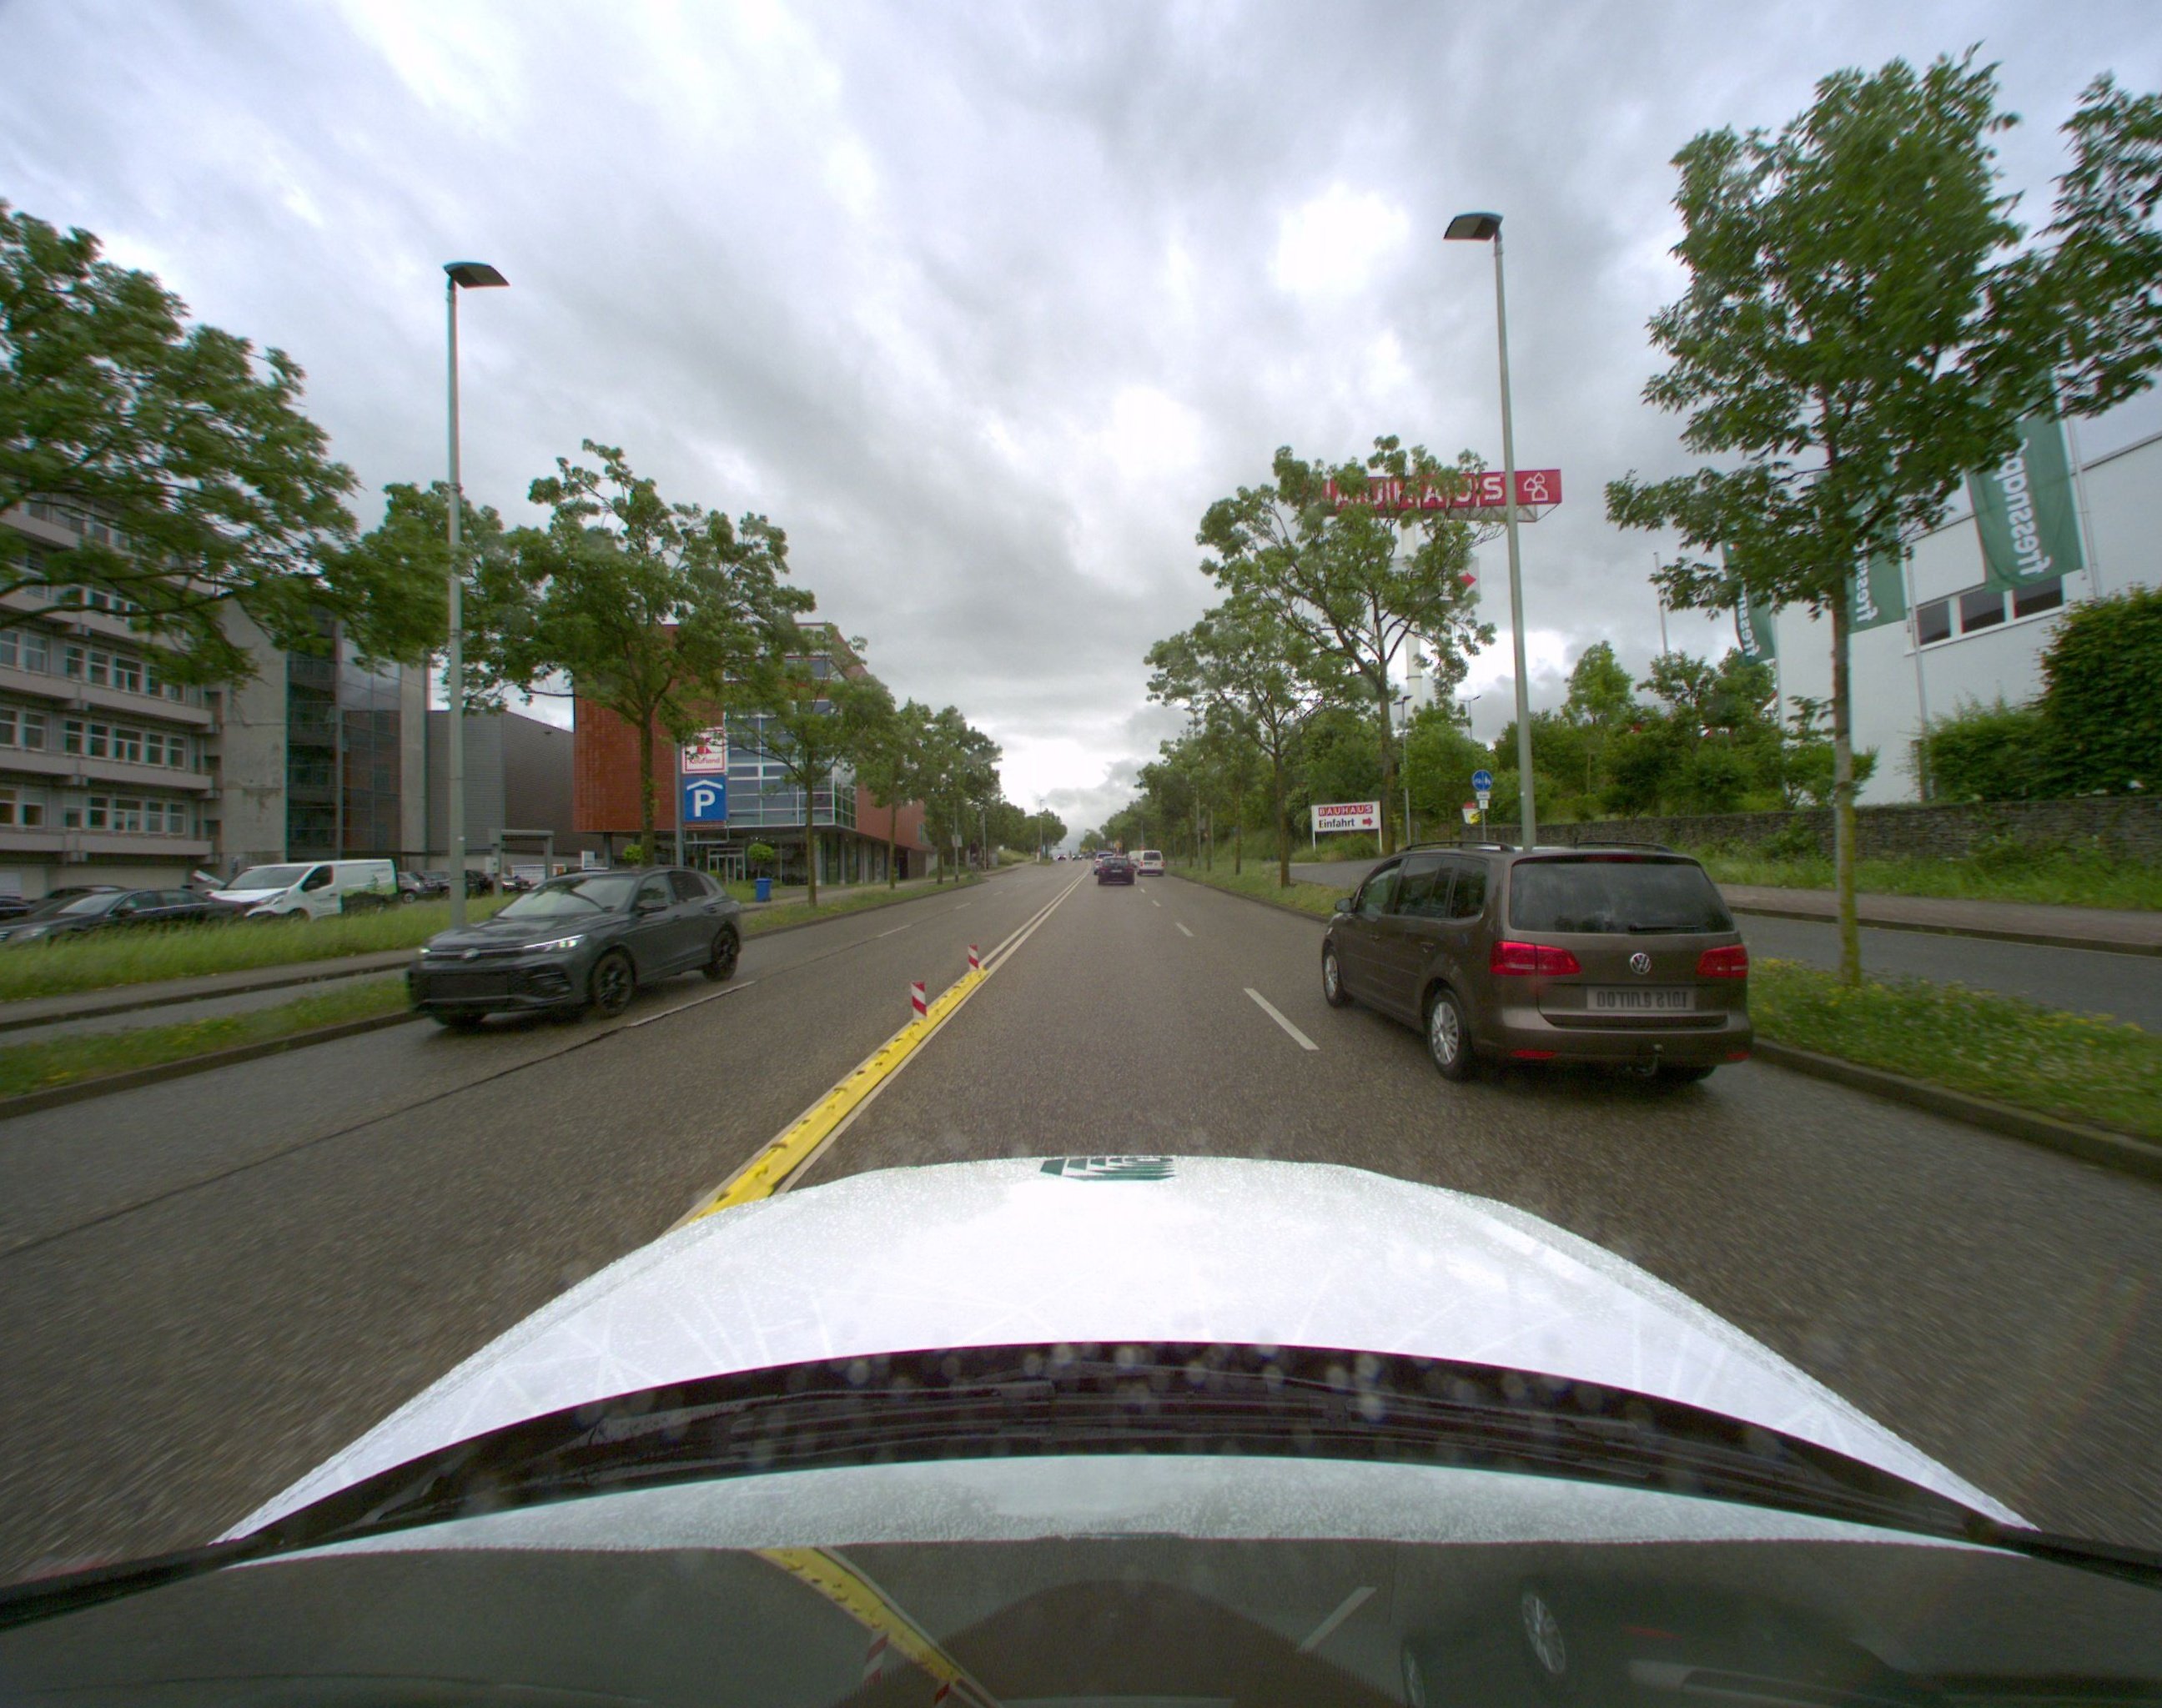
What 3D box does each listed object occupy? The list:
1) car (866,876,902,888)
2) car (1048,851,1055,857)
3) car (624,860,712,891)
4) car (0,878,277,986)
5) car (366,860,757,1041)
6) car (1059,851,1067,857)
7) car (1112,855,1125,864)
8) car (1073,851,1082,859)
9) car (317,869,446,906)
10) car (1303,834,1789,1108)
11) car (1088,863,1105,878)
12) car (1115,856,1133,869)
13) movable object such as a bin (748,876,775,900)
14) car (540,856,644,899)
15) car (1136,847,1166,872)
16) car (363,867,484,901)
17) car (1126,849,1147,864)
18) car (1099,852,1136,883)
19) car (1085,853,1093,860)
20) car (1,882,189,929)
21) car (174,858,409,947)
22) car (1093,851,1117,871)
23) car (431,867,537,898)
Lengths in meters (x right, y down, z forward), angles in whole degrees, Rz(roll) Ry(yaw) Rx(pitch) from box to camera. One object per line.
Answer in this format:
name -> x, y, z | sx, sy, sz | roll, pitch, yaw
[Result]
car -> -22.054, 3.137, 91.159 | 3.520, 1.284, 1.522 | 0, -1, 4
car -> -7.498, 0.031, 207.686 | 1.789, 1.510, 3.997 | 0, -1, -2
car -> -24.058, 1.253, 47.600 | 4.280, 1.682, 1.789 | -2, -2, -18
car -> -20.783, 1.524, 17.565 | 2.034, 1.762, 4.942 | -1, 1, -2
car -> -5.893, 0.947, 10.064 | 1.781, 1.614, 4.438 | -4, 0, 2
car -> -4.126, -0.003, 187.452 | 1.789, 1.510, 3.997 | 0, -1, -2
car -> 5.991, 0.895, 131.069 | 1.789, 1.510, 3.997 | 0, -1, -2
car -> -0.796, 0.194, 172.493 | 1.789, 1.510, 3.997 | 0, -1, -2
car -> -32.013, 1.530, 37.374 | 4.105, 1.510, 1.815 | -1, 1, -7
car -> 3.274, 0.695, 6.829 | 1.680, 1.581, 4.218 | 0, -1, 0
car -> 1.610, 1.738, 85.190 | 1.788, 1.510, 3.999 | 0, -1, 0
car -> 4.941, 0.961, 94.348 | 1.789, 1.510, 3.997 | 0, -1, -2
movable object such as a bin -> -14.596, 1.551, 37.232 | 0.816, 1.079, 1.086 | 0, 0, 2
car -> -22.899, 1.063, 38.356 | 2.132, 1.773, 4.606 | 0, 1, -1
car -> 4.931, 0.376, 58.088 | 1.821, 1.759, 4.000 | 0, 0, 0
car -> -32.010, 1.428, 39.744 | 4.187, 1.510, 1.815 | -1, 1, -7
car -> 5.505, 0.267, 80.818 | 1.788, 1.510, 3.999 | 0, -1, 0
car -> 1.870, 0.659, 42.257 | 1.820, 1.468, 4.002 | -1, 0, 2
car -> 1.888, 0.665, 187.979 | 1.788, 1.510, 3.999 | 0, -1, 0
car -> -36.439, 1.892, 30.217 | 4.272, 1.510, 1.843 | -1, 1, -7
car -> -22.148, 1.227, 23.245 | 2.112, 2.096, 5.109 | -1, 1, -8
car -> 1.816, 0.573, 62.956 | 1.788, 1.510, 3.999 | 0, -1, 0
car -> -32.271, 1.519, 44.111 | 4.187, 1.510, 1.897 | -1, 1, -7
